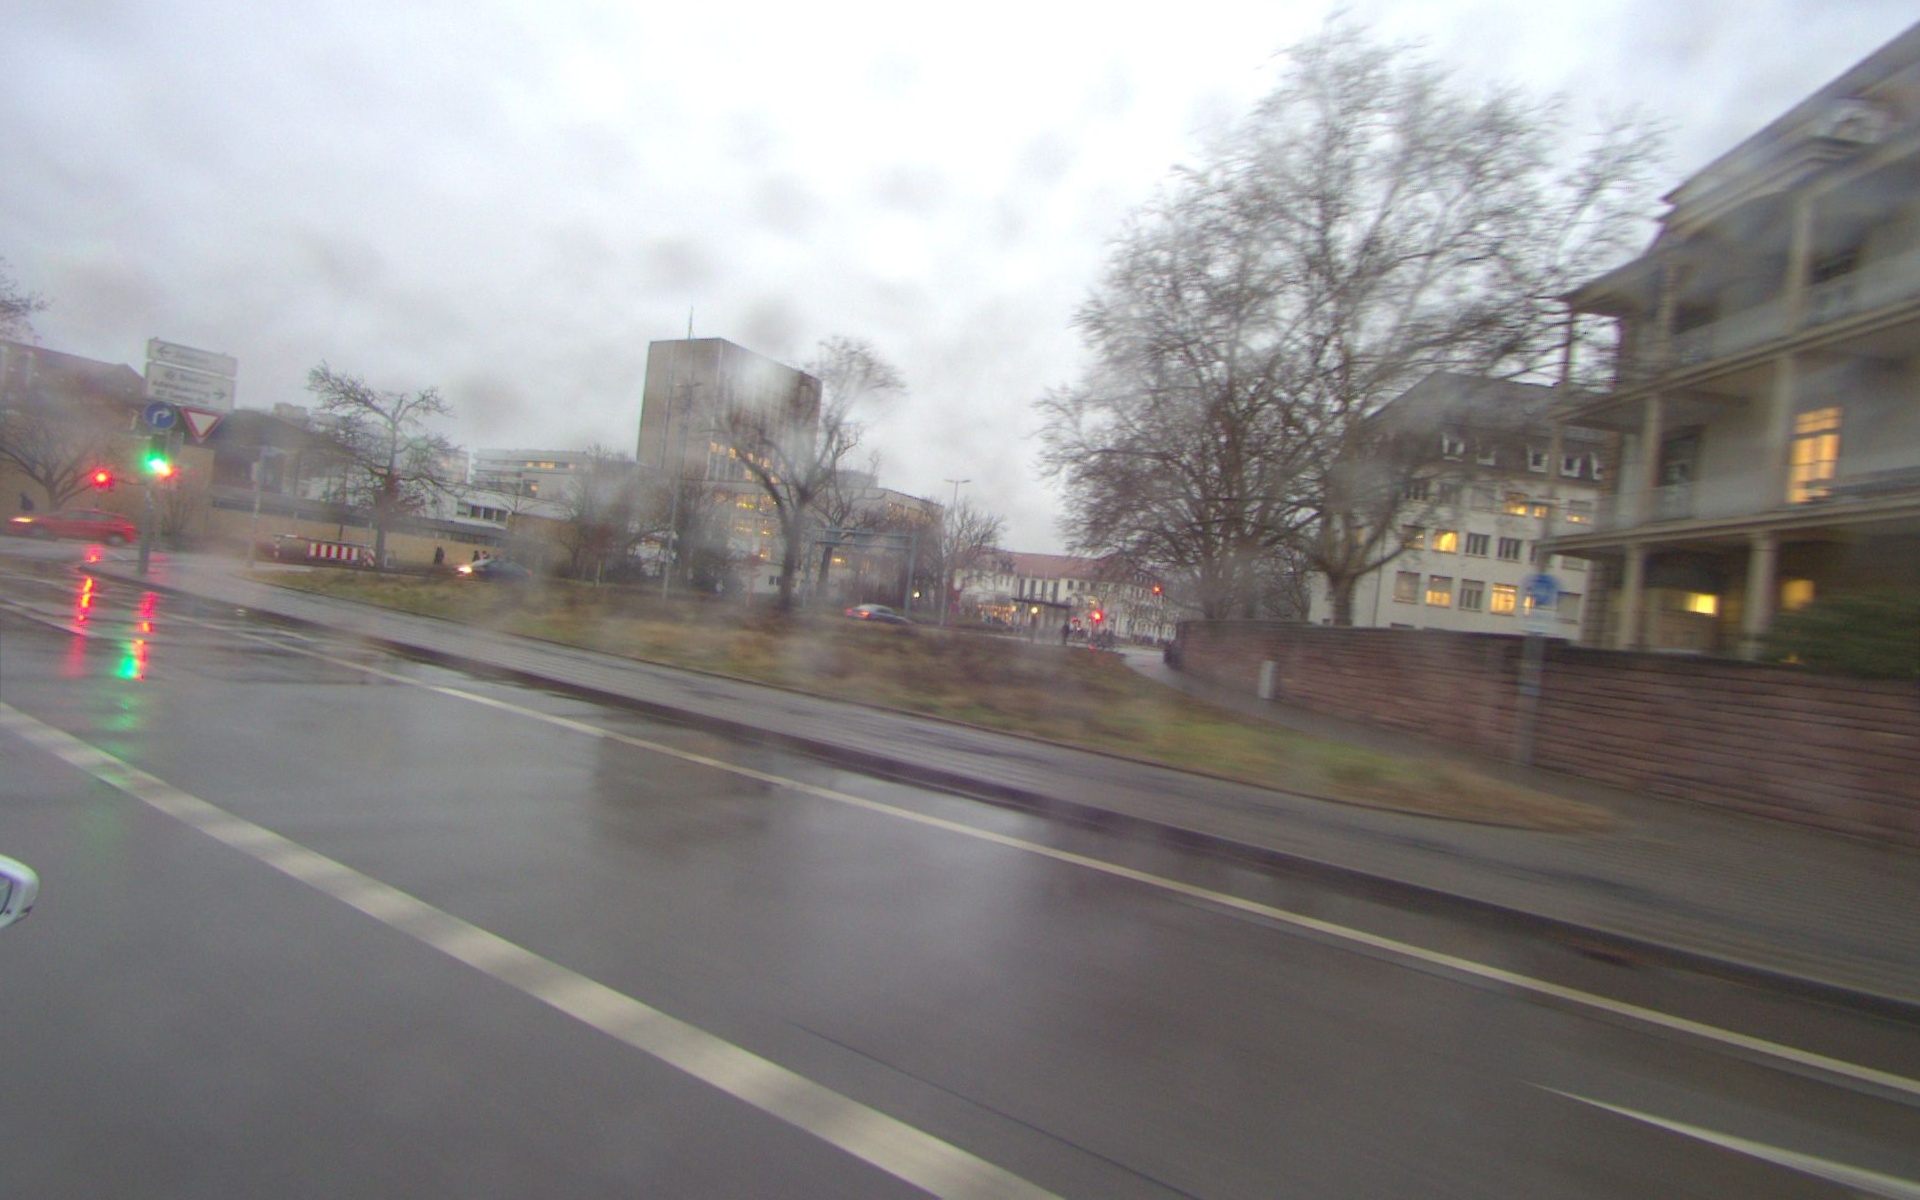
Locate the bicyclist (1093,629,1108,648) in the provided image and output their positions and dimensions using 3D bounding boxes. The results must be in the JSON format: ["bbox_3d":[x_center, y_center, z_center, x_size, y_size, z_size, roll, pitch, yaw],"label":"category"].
[{"bbox_3d":[9.213,2.526,66.006,0.690,1.092,0.494,5,-2,33],"label":"bicyclist"}]

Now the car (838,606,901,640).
[{"bbox_3d":[-5.661,1.485,63.342,1.861,1.669,3.636,5,-3,36],"label":"car"}]

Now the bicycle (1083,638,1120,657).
[{"bbox_3d":[9.262,3.126,65.901,2.373,1.002,0.479,5,-2,32],"label":"bicycle"}]

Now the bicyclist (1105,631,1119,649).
[{"bbox_3d":[10.023,2.629,66.283,0.690,1.092,0.494,5,-2,33],"label":"bicyclist"}]

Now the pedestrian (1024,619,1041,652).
[{"bbox_3d":[4.351,2.118,60.367,0.633,1.856,0.837,5,-2,24],"label":"pedestrian"}]

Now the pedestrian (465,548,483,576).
[{"bbox_3d":[-32.054,-2.491,66.394,0.749,1.744,0.623,5,-2,39],"label":"pedestrian"}]

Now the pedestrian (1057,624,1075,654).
[{"bbox_3d":[7.012,2.581,66.655,0.823,1.856,0.667,5,-2,35],"label":"pedestrian"}]

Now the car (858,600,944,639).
[{"bbox_3d":[-2.081,0.700,35.483,2.656,0.989,1.290,8,0,-33],"label":"car"}]

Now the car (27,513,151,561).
[{"bbox_3d":[-36.921,-2.628,42.699,1.545,1.414,3.783,4,-4,44],"label":"car"}]

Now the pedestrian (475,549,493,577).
[{"bbox_3d":[-31.126,-2.408,65.824,0.749,1.744,0.623,5,-2,39],"label":"pedestrian"}]

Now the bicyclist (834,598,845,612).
[{"bbox_3d":[-11.302,0.478,94.572,0.599,1.260,0.698,5,-3,40],"label":"bicyclist"}]

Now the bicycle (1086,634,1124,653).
[{"bbox_3d":[9.565,2.853,66.537,2.373,1.002,0.537,5,-2,32],"label":"bicycle"}]

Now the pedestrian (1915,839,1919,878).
[{"bbox_3d":[10.604,2.127,10.167,0.766,1.697,0.960,6,1,-7],"label":"pedestrian"}]

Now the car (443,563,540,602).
[{"bbox_3d":[-26.354,-0.973,56.674,1.944,1.598,4.424,4,-4,45],"label":"car"}]
